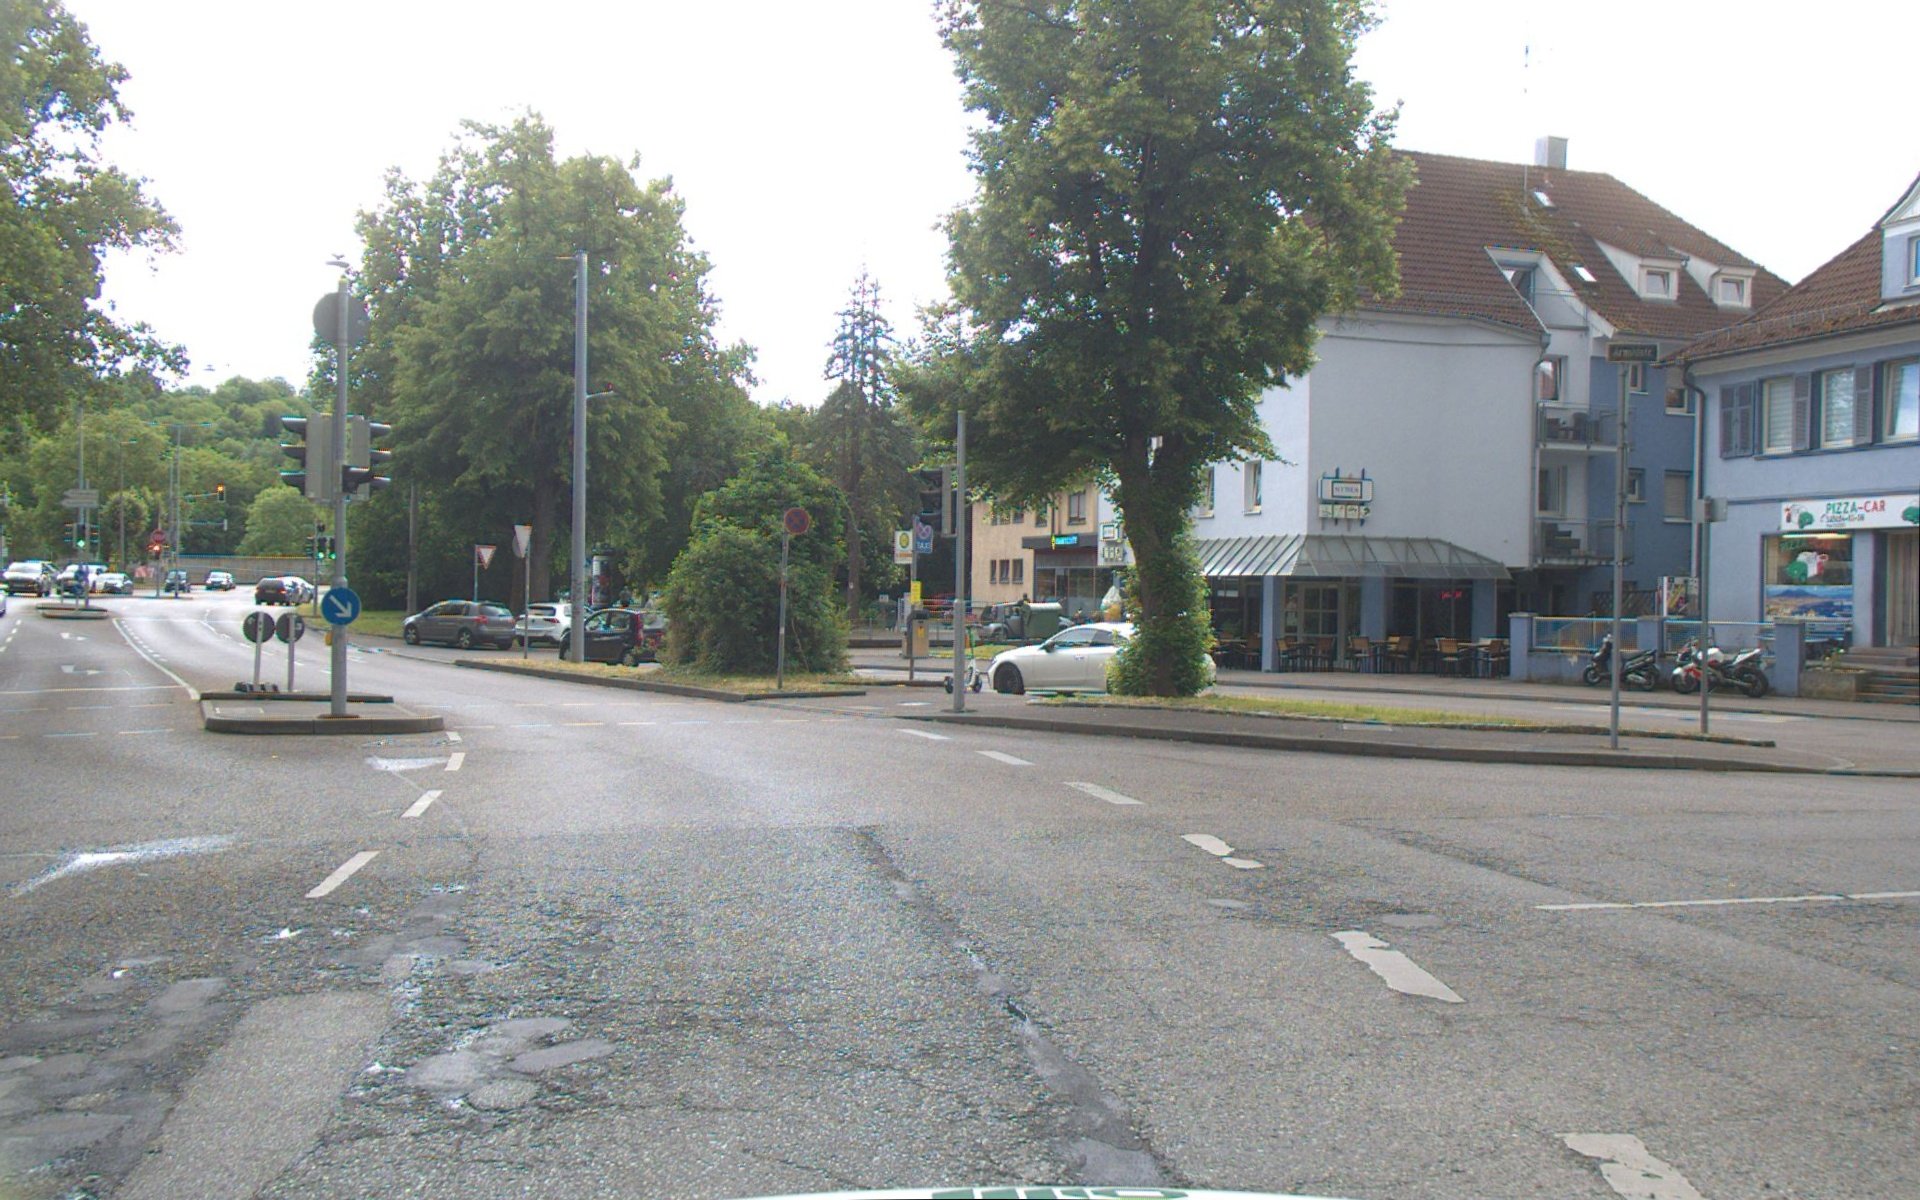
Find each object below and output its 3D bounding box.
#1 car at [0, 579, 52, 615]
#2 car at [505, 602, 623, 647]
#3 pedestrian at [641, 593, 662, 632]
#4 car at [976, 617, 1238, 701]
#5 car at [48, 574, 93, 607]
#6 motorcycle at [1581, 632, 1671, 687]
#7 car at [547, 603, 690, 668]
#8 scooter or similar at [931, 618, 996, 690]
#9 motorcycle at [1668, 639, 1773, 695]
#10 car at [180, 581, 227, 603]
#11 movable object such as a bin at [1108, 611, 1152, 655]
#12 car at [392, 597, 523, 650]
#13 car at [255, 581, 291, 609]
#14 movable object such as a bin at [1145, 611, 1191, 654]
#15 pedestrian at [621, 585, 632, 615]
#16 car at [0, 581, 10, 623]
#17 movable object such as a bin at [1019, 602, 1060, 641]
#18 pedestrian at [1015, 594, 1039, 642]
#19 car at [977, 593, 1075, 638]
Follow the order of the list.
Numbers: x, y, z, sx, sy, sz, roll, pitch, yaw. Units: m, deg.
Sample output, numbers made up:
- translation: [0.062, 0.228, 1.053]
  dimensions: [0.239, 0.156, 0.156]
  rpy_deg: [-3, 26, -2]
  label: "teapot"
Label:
- translation: [-46.717, -0.161, 82.793]
  dimensions: [1.773, 1.614, 4.382]
  rpy_deg: [-2, 2, -24]
  label: "car"
- translation: [-13.037, 0.790, 54.747]
  dimensions: [1.723, 1.405, 4.262]
  rpy_deg: [1, 0, 20]
  label: "car"
- translation: [-12.837, 0.526, 68.777]
  dimensions: [0.674, 1.578, 0.737]
  rpy_deg: [1, 0, -24]
  label: "pedestrian"
- translation: [2.690, 1.053, 31.038]
  dimensions: [4.705, 1.411, 1.987]
  rpy_deg: [0, 0, 43]
  label: "car"
- translation: [-51.938, -0.565, 96.623]
  dimensions: [1.885, 1.794, 4.719]
  rpy_deg: [0, 1, -23]
  label: "car"
- translation: [13.610, 1.204, 33.824]
  dimensions: [0.485, 1.049, 1.701]
  rpy_deg: [0, 0, -39]
  label: "motorcycle"
- translation: [-8.410, 0.841, 40.612]
  dimensions: [3.426, 1.428, 1.567]
  rpy_deg: [2, 1, 37]
  label: "car"
- translation: [0.071, 0.938, 28.430]
  dimensions: [0.404, 1.187, 1.358]
  rpy_deg: [1, -2, 34]
  label: "scooter or similar"
- translation: [14.638, 1.271, 31.875]
  dimensions: [0.516, 1.003, 1.798]
  rpy_deg: [1, 0, -38]
  label: "motorcycle"
- translation: [-57.984, -0.584, 126.844]
  dimensions: [3.001, 1.259, 1.436]
  rpy_deg: [2, 13, -14]
  label: "car"
- translation: [5.644, 1.072, 54.991]
  dimensions: [1.193, 1.441, 1.091]
  rpy_deg: [0, 0, -13]
  label: "movable object such as a bin"
- translation: [-15.881, 0.723, 52.245]
  dimensions: [4.026, 1.454, 1.729]
  rpy_deg: [3, 1, 32]
  label: "car"
- translation: [-38.421, -0.298, 92.556]
  dimensions: [1.797, 1.536, 4.543]
  rpy_deg: [0, 0, -22]
  label: "car"
- translation: [6.946, 1.074, 55.289]
  dimensions: [1.193, 1.419, 1.157]
  rpy_deg: [0, 0, -13]
  label: "movable object such as a bin"
- translation: [-17.279, -0.003, 85.685]
  dimensions: [0.502, 1.558, 0.775]
  rpy_deg: [1, 0, -14]
  label: "pedestrian"
- translation: [-35.874, 0.088, 60.565]
  dimensions: [1.742, 1.492, 3.984]
  rpy_deg: [-1, 0, -28]
  label: "car"
- translation: [2.857, 0.764, 59.477]
  dimensions: [1.200, 1.368, 0.988]
  rpy_deg: [0, 0, -23]
  label: "movable object such as a bin"
- translation: [2.451, 0.649, 60.391]
  dimensions: [0.678, 1.760, 0.607]
  rpy_deg: [0, 0, -23]
  label: "pedestrian"
- translation: [2.446, 0.565, 61.512]
  dimensions: [3.359, 1.659, 1.617]
  rpy_deg: [0, 0, -17]
  label: "car"
